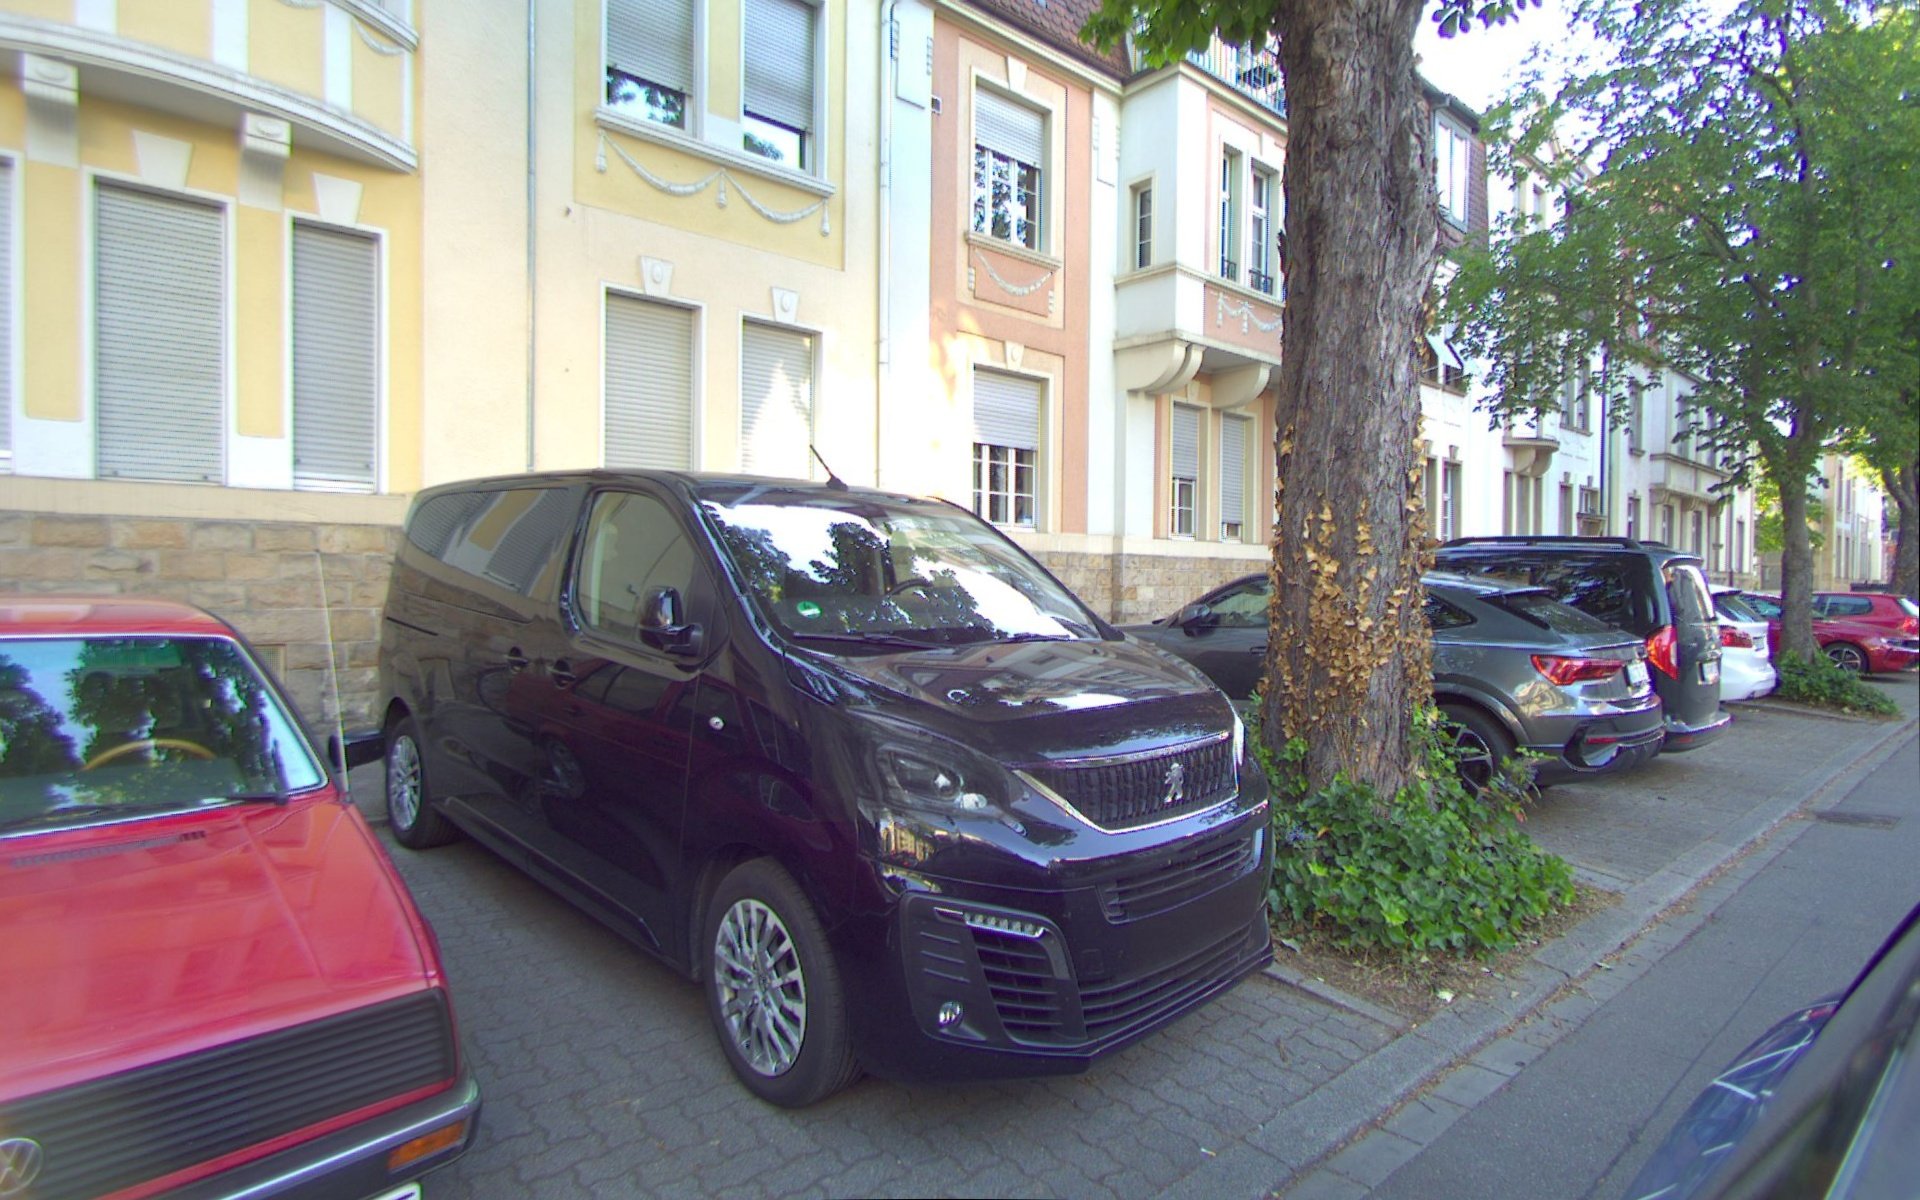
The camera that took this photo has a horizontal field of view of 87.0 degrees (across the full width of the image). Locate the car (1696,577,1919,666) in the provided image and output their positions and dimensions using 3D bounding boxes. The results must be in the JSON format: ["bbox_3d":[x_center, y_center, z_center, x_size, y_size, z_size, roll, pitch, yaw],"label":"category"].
[{"bbox_3d":[16.896,0.354,19.813,1.628,1.499,3.682,0,3,-38],"label":"car"}]

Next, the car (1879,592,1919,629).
[{"bbox_3d":[31.896,0.380,32.461,1.515,1.164,3.399,0,3,-39],"label":"car"}]

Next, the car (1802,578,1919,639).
[{"bbox_3d":[25.871,0.232,28.026,1.548,1.576,3.681,0,3,-39],"label":"car"}]

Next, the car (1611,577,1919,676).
[{"bbox_3d":[14.786,0.384,18.457,1.833,1.470,4.533,0,3,-38],"label":"car"}]

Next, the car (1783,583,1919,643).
[{"bbox_3d":[24.006,0.320,26.406,1.548,1.416,3.681,0,3,-39],"label":"car"}]

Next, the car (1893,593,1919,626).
[{"bbox_3d":[34.277,0.379,34.524,1.515,1.076,3.399,0,3,-39],"label":"car"}]

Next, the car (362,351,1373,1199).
[{"bbox_3d":[-0.939,0.327,4.470,1.867,1.897,4.753,-1,3,-44],"label":"car"}]

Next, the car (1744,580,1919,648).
[{"bbox_3d":[21.853,0.298,24.968,1.548,1.484,3.681,0,3,-39],"label":"car"}]

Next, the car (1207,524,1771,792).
[{"bbox_3d":[4.519,0.309,9.140,1.814,1.860,4.116,-1,3,-42],"label":"car"}]

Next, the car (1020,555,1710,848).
[{"bbox_3d":[2.744,0.463,7.696,1.815,1.542,4.513,-1,3,-44],"label":"car"}]

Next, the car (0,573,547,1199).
[{"bbox_3d":[-2.874,0.630,3.029,1.603,1.332,4.139,-1,3,-44],"label":"car"}]

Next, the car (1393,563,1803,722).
[{"bbox_3d":[7.703,0.378,12.519,1.689,1.597,3.948,0,3,-41],"label":"car"}]
